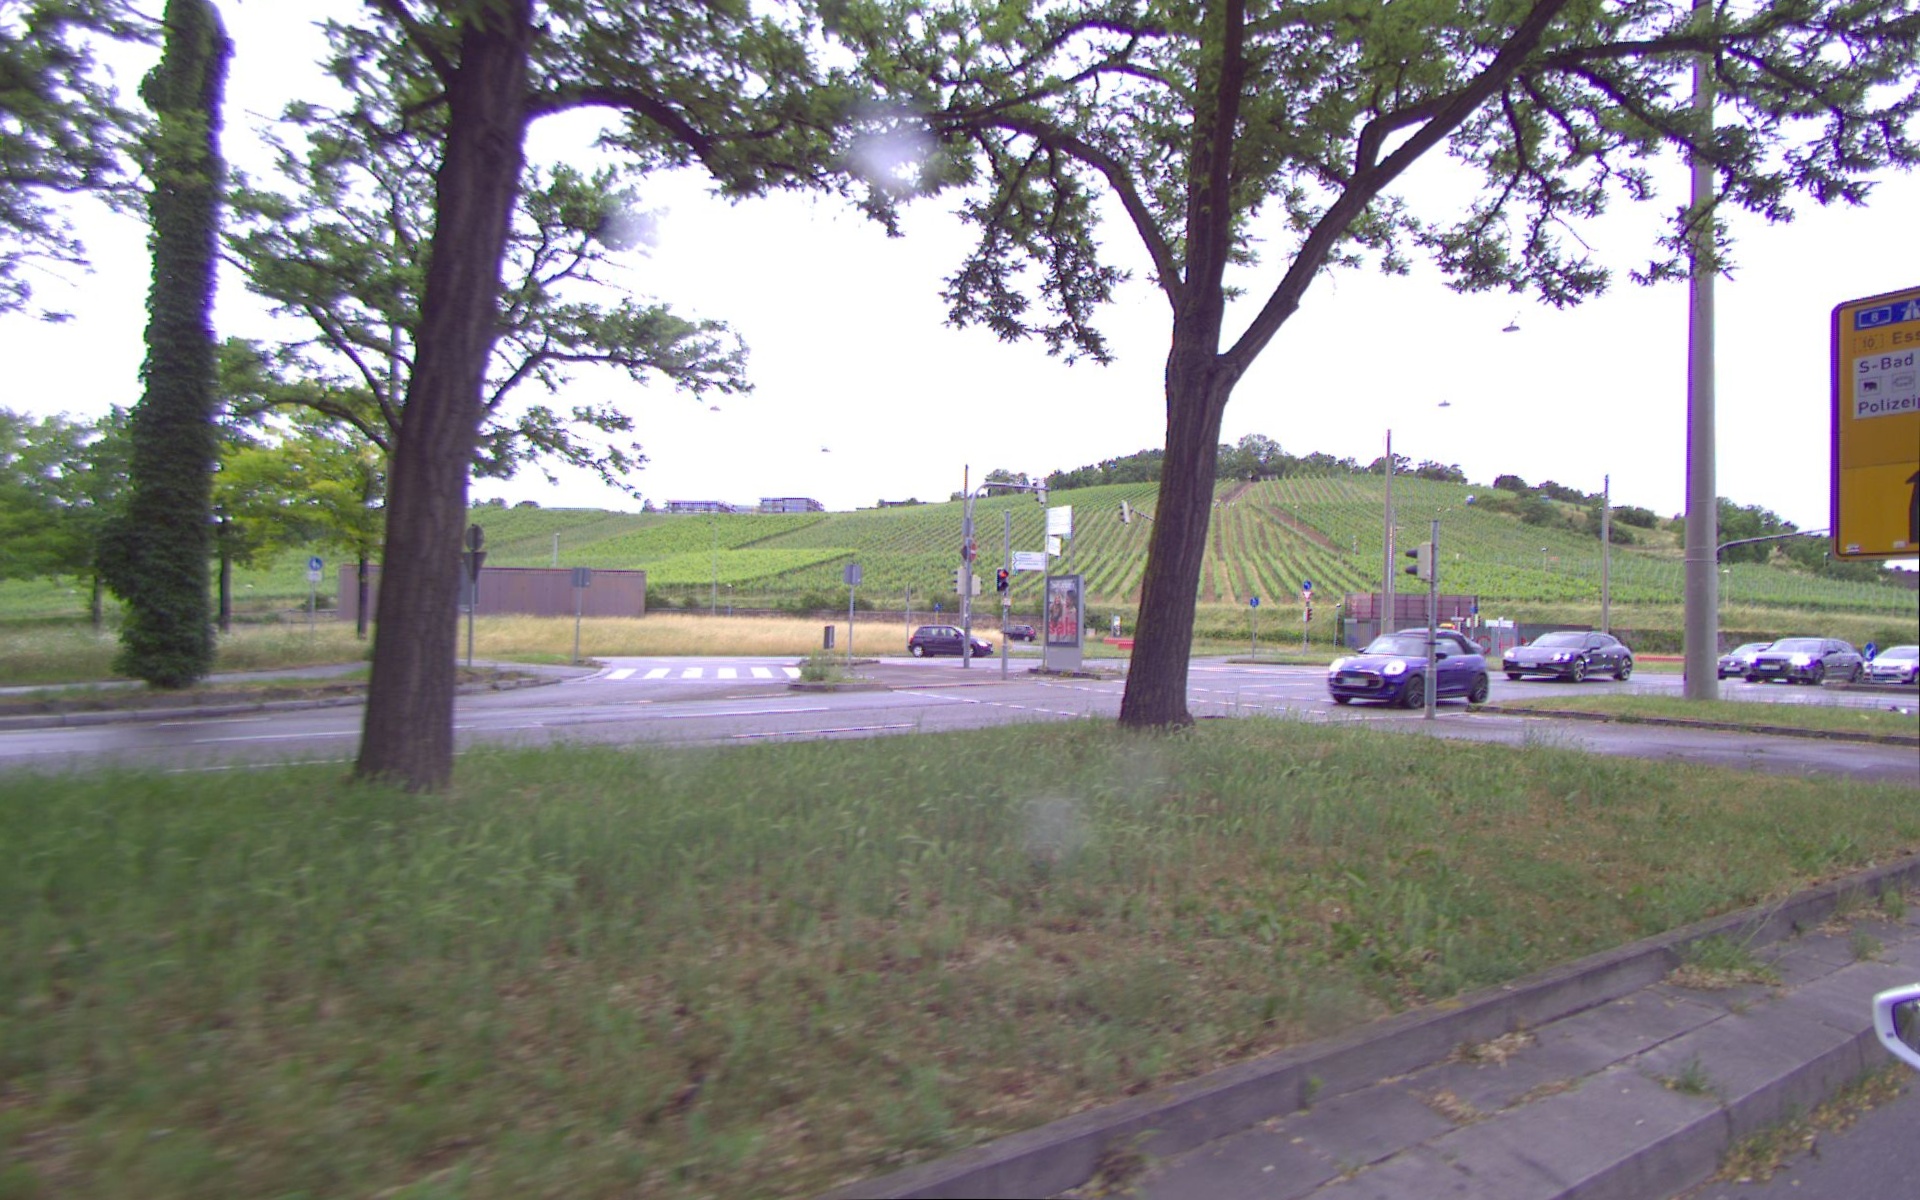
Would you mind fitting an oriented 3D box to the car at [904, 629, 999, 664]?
[{"bbox_3d":[-0.366,2.105,45.908,3.921,1.306,1.799,3,0,21],"label":"car"}]

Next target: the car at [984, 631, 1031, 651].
[{"bbox_3d":[4.171,3.582,88.723,3.694,1.538,1.861,3,0,20],"label":"car"}]

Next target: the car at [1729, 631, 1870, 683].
[{"bbox_3d":[26.806,1.765,32.048,4.833,1.509,1.893,1,-1,-29],"label":"car"}]

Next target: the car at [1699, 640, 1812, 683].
[{"bbox_3d":[29.855,2.264,37.671,4.613,1.492,1.816,1,-1,-30],"label":"car"}]

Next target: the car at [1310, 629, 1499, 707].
[{"bbox_3d":[8.984,1.334,20.200,3.844,1.414,1.775,2,-2,-35],"label":"car"}]

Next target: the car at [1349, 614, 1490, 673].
[{"bbox_3d":[14.244,1.349,31.048,4.519,1.645,1.818,2,0,-34],"label":"car"}]

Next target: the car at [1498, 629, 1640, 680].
[{"bbox_3d":[18.080,1.566,29.757,4.619,1.381,1.813,1,-1,-33],"label":"car"}]

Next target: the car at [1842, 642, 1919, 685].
[{"bbox_3d":[39.313,2.655,41.746,4.125,1.596,1.994,2,0,-14],"label":"car"}]
